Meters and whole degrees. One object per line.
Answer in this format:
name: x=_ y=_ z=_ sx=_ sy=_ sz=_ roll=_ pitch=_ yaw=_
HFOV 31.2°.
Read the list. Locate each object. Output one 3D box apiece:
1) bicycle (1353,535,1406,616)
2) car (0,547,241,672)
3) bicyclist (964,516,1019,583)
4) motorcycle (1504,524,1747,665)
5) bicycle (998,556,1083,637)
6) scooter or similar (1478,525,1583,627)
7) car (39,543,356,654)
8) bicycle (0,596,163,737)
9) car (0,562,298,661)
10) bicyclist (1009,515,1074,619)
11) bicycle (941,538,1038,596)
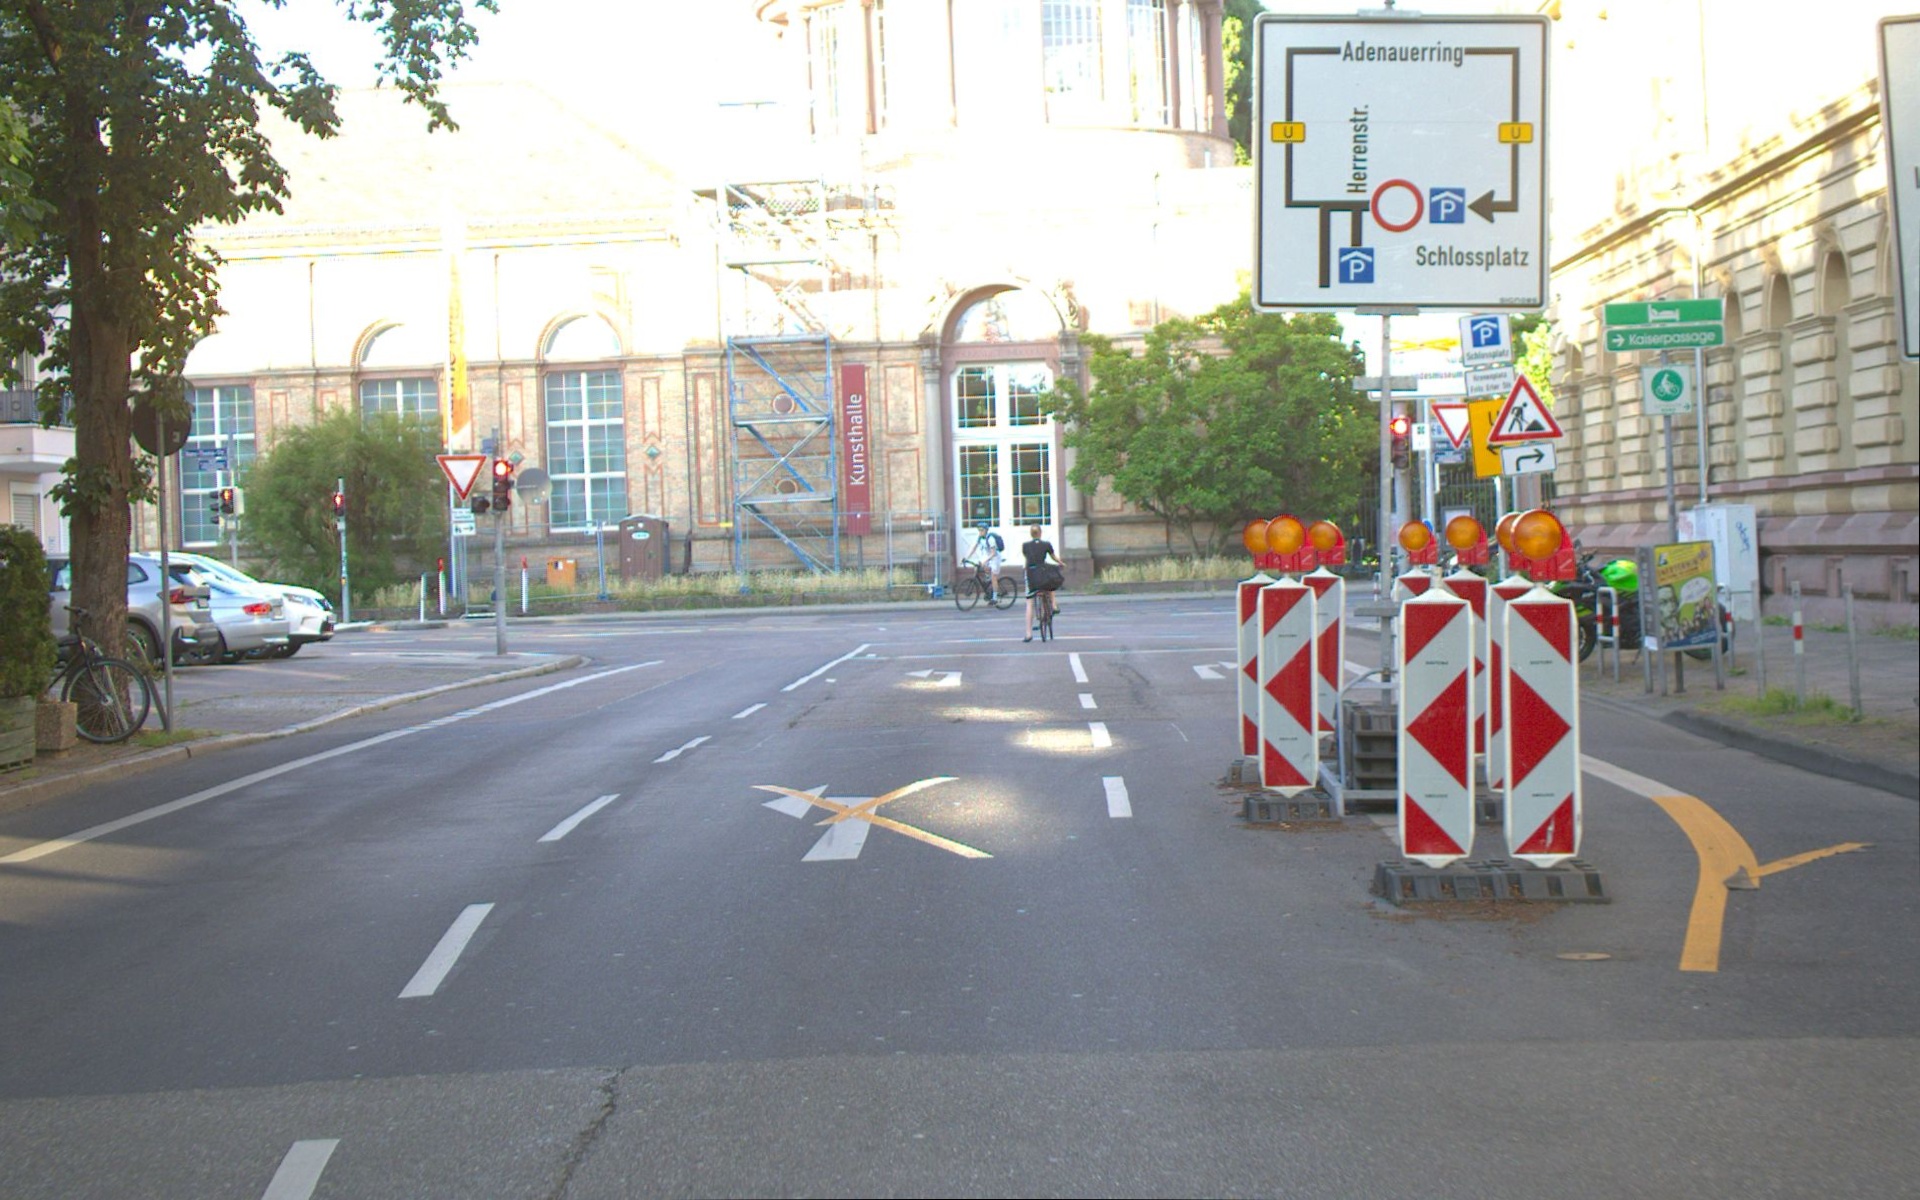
bicycle: x=6.415 y=-0.366 z=52.642 sx=0.582 sy=1.184 sz=1.920 roll=-2 pitch=-1 yaw=2
car: x=-12.002 y=0.112 z=45.823 sx=4.418 sy=1.599 sz=1.916 roll=0 pitch=1 yaw=0
bicyclist: x=0.659 y=-1.051 z=71.969 sx=0.926 sy=1.360 sz=0.627 roll=-2 pitch=-1 yaw=-39
motorcycle: x=6.401 y=-0.049 z=33.104 sx=2.101 sy=1.211 sz=0.709 roll=-4 pitch=1 yaw=31
bicycle: x=1.206 y=-0.058 z=50.974 sx=0.712 sy=1.152 sz=2.067 roll=-2 pitch=-1 yaw=16
scooter or similar: x=7.166 y=-0.297 z=43.164 sx=1.131 sy=1.191 sz=0.583 roll=-4 pitch=0 yaw=20
car: x=-11.706 y=-0.043 z=52.957 sx=4.440 sy=1.635 sz=1.942 roll=0 pitch=1 yaw=0
bicycle: x=-7.534 y=0.547 z=28.151 sx=1.866 sy=1.100 sz=0.610 roll=-2 pitch=1 yaw=-5
car: x=-11.987 y=0.152 z=50.233 sx=4.266 sy=1.376 sz=1.736 roll=0 pitch=1 yaw=0
bicyclist: x=1.209 y=-0.488 z=51.025 sx=0.716 sy=1.497 sz=0.850 roll=-2 pitch=-1 yaw=16
bicycle: x=0.623 y=-0.696 z=71.923 sx=2.046 sy=1.152 sz=0.626 roll=-2 pitch=-1 yaw=-39
